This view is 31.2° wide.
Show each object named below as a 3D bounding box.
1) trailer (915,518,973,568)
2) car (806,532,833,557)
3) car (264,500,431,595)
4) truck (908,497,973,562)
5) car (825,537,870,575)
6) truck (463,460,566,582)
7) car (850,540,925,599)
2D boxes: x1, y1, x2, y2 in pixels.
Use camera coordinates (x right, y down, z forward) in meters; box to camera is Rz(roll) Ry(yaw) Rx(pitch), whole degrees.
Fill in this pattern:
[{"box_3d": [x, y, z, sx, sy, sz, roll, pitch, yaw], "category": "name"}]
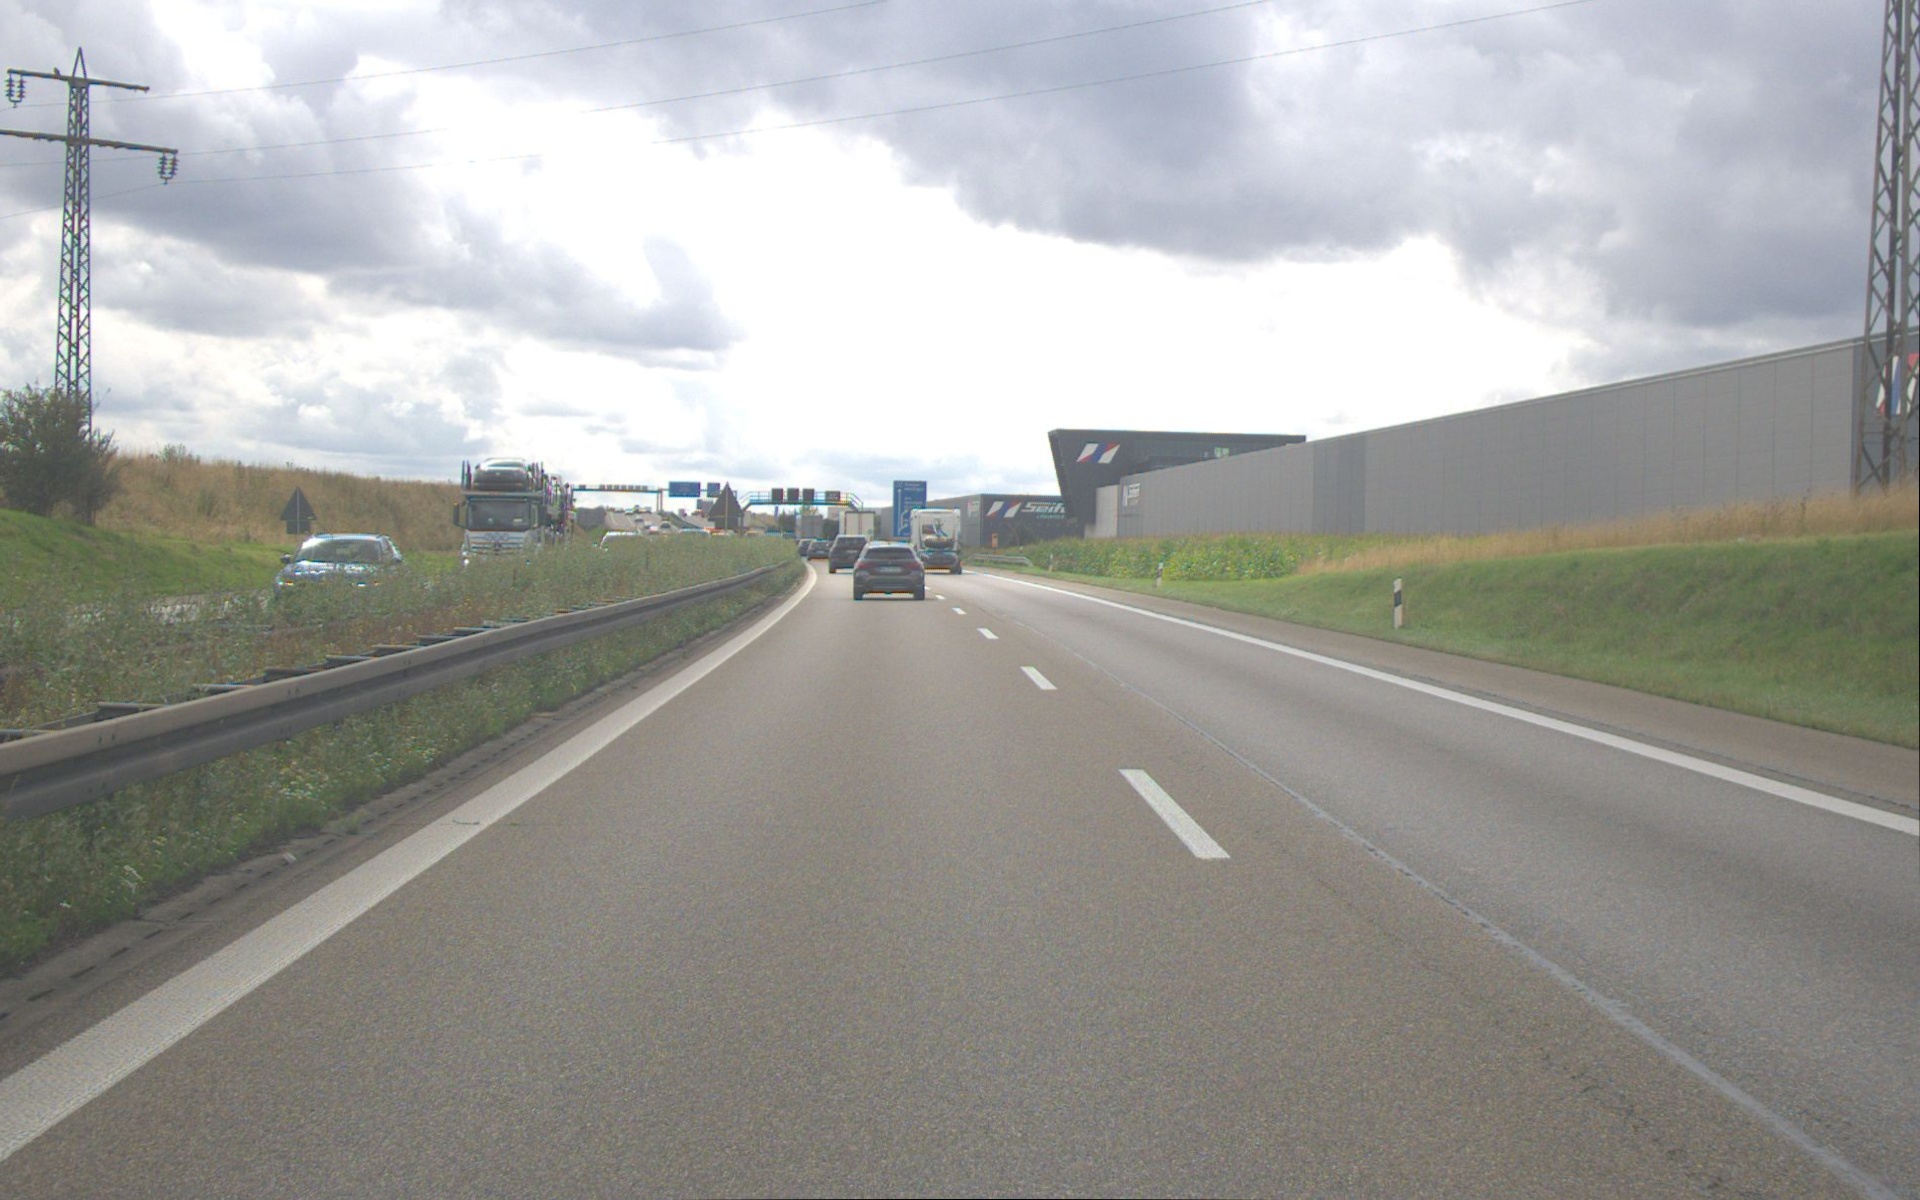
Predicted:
[{"box_3d": [-0.718, -2.533, 153.029, 2.338, 2.129, 4.001, 1, 1, -3], "category": "trailer"}, {"box_3d": [-10.163, -4.006, 248.705, 1.943, 1.769, 3.696, 1, 1, -2], "category": "car"}, {"box_3d": [-9.938, -0.853, 56.078, 1.993, 1.452, 4.444, 1, 1, -1], "category": "car"}, {"box_3d": [-0.926, -3.246, 159.954, 2.481, 2.940, 5.816, 1, 1, -5], "category": "truck"}, {"box_3d": [-5.122, -1.984, 156.065, 1.945, 1.679, 4.001, 1, 1, -3], "category": "car"}, {"box_3d": [-14.698, -2.620, 113.745, 2.723, 3.922, 5.987, 0, 1, -1], "category": "truck"}, {"box_3d": [-1.862, -0.778, 87.159, 1.746, 1.448, 4.001, 1, 1, -3], "category": "car"}]
